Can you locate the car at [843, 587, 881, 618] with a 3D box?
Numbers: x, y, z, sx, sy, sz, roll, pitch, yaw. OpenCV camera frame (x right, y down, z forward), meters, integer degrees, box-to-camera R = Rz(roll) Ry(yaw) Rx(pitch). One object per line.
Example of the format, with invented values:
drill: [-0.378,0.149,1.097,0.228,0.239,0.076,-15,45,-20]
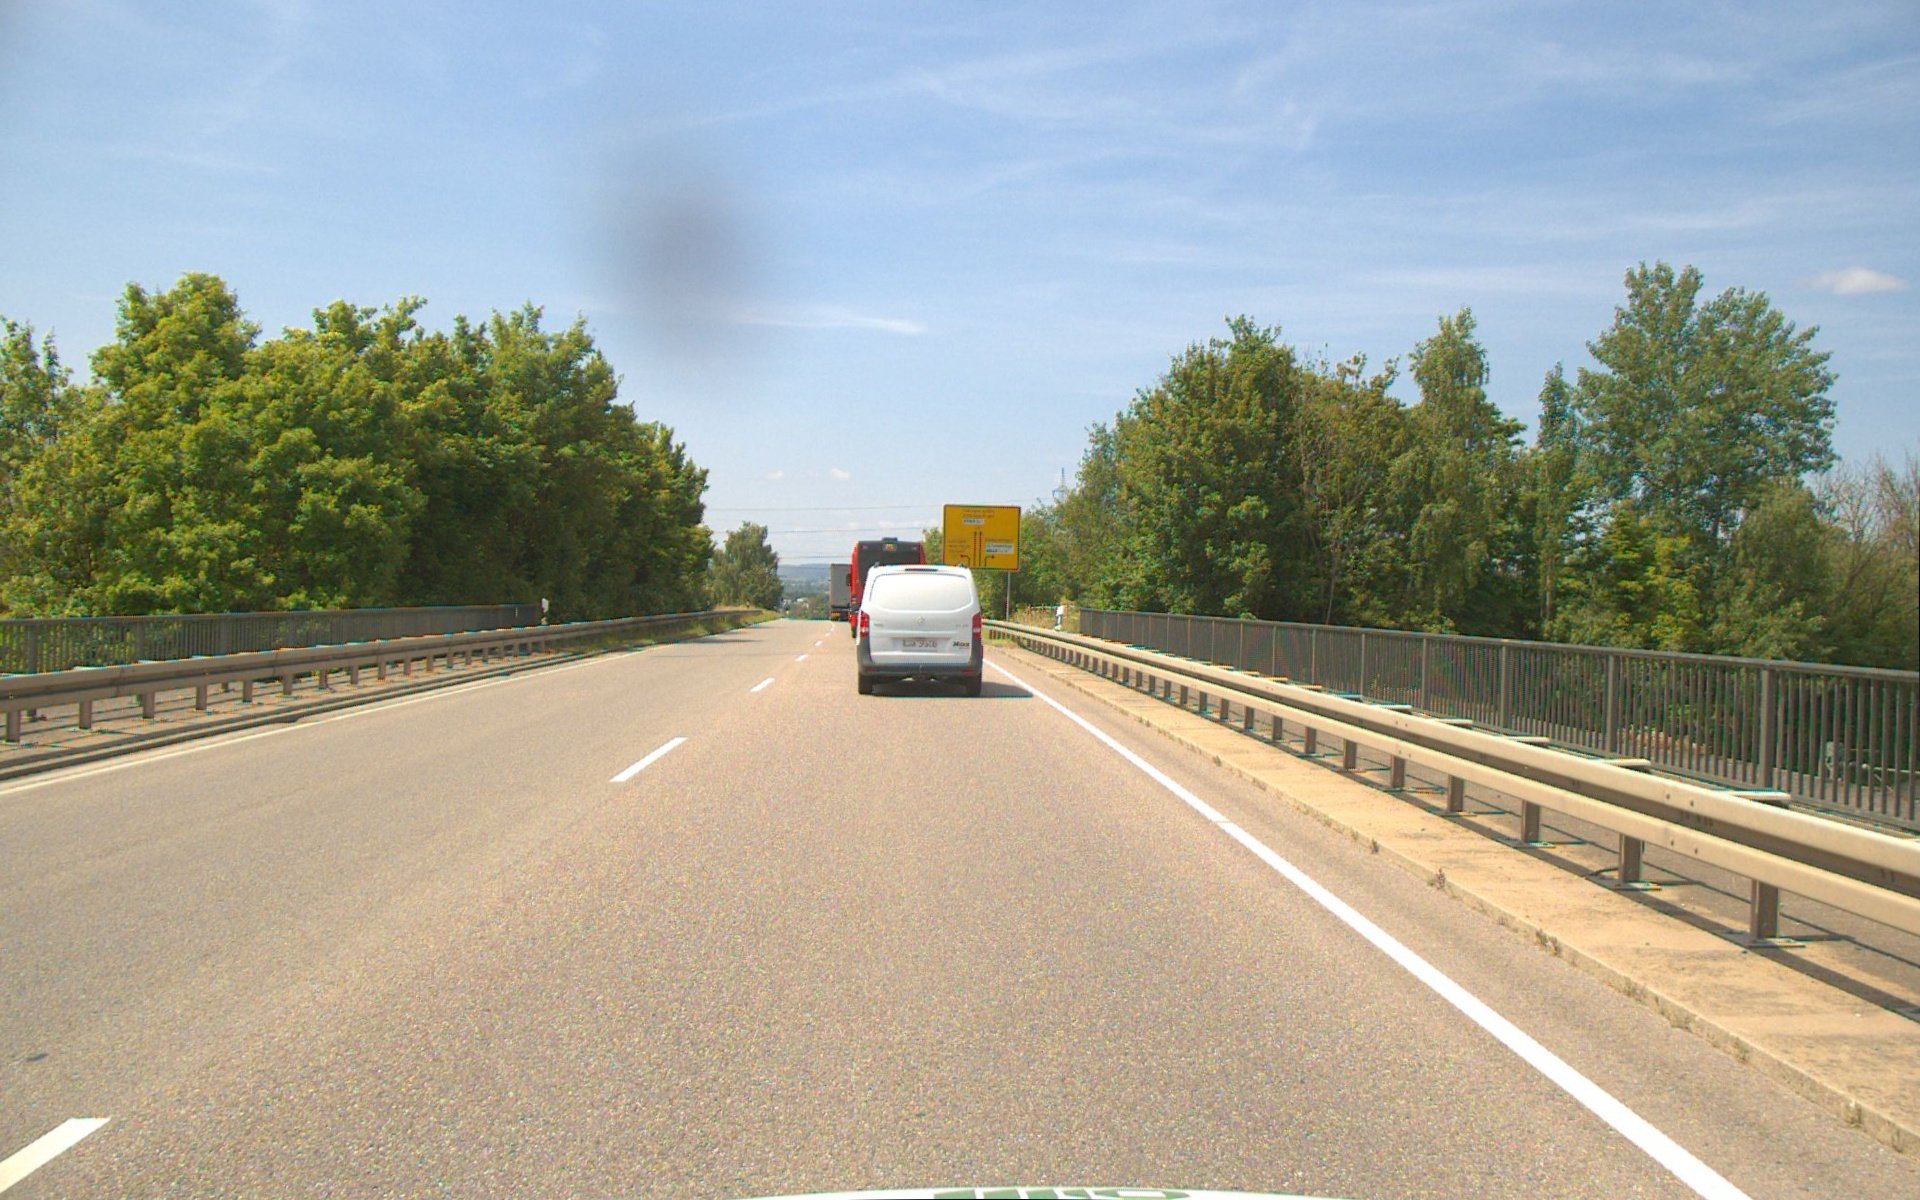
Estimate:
car: [-6.024,0.159,101.089,1.956,1.847,3.992,1,0,-9]

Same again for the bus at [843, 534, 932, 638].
bus: [-2.829,-0.513,60.774,2.693,3.412,13.207,0,0,-5]

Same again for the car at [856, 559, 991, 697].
car: [-0.607,0.377,25.465,1.885,1.922,3.998,1,1,-3]

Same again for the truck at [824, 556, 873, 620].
truck: [-8.487,-0.944,124.723,3.420,4.500,14.889,0,1,-4]
